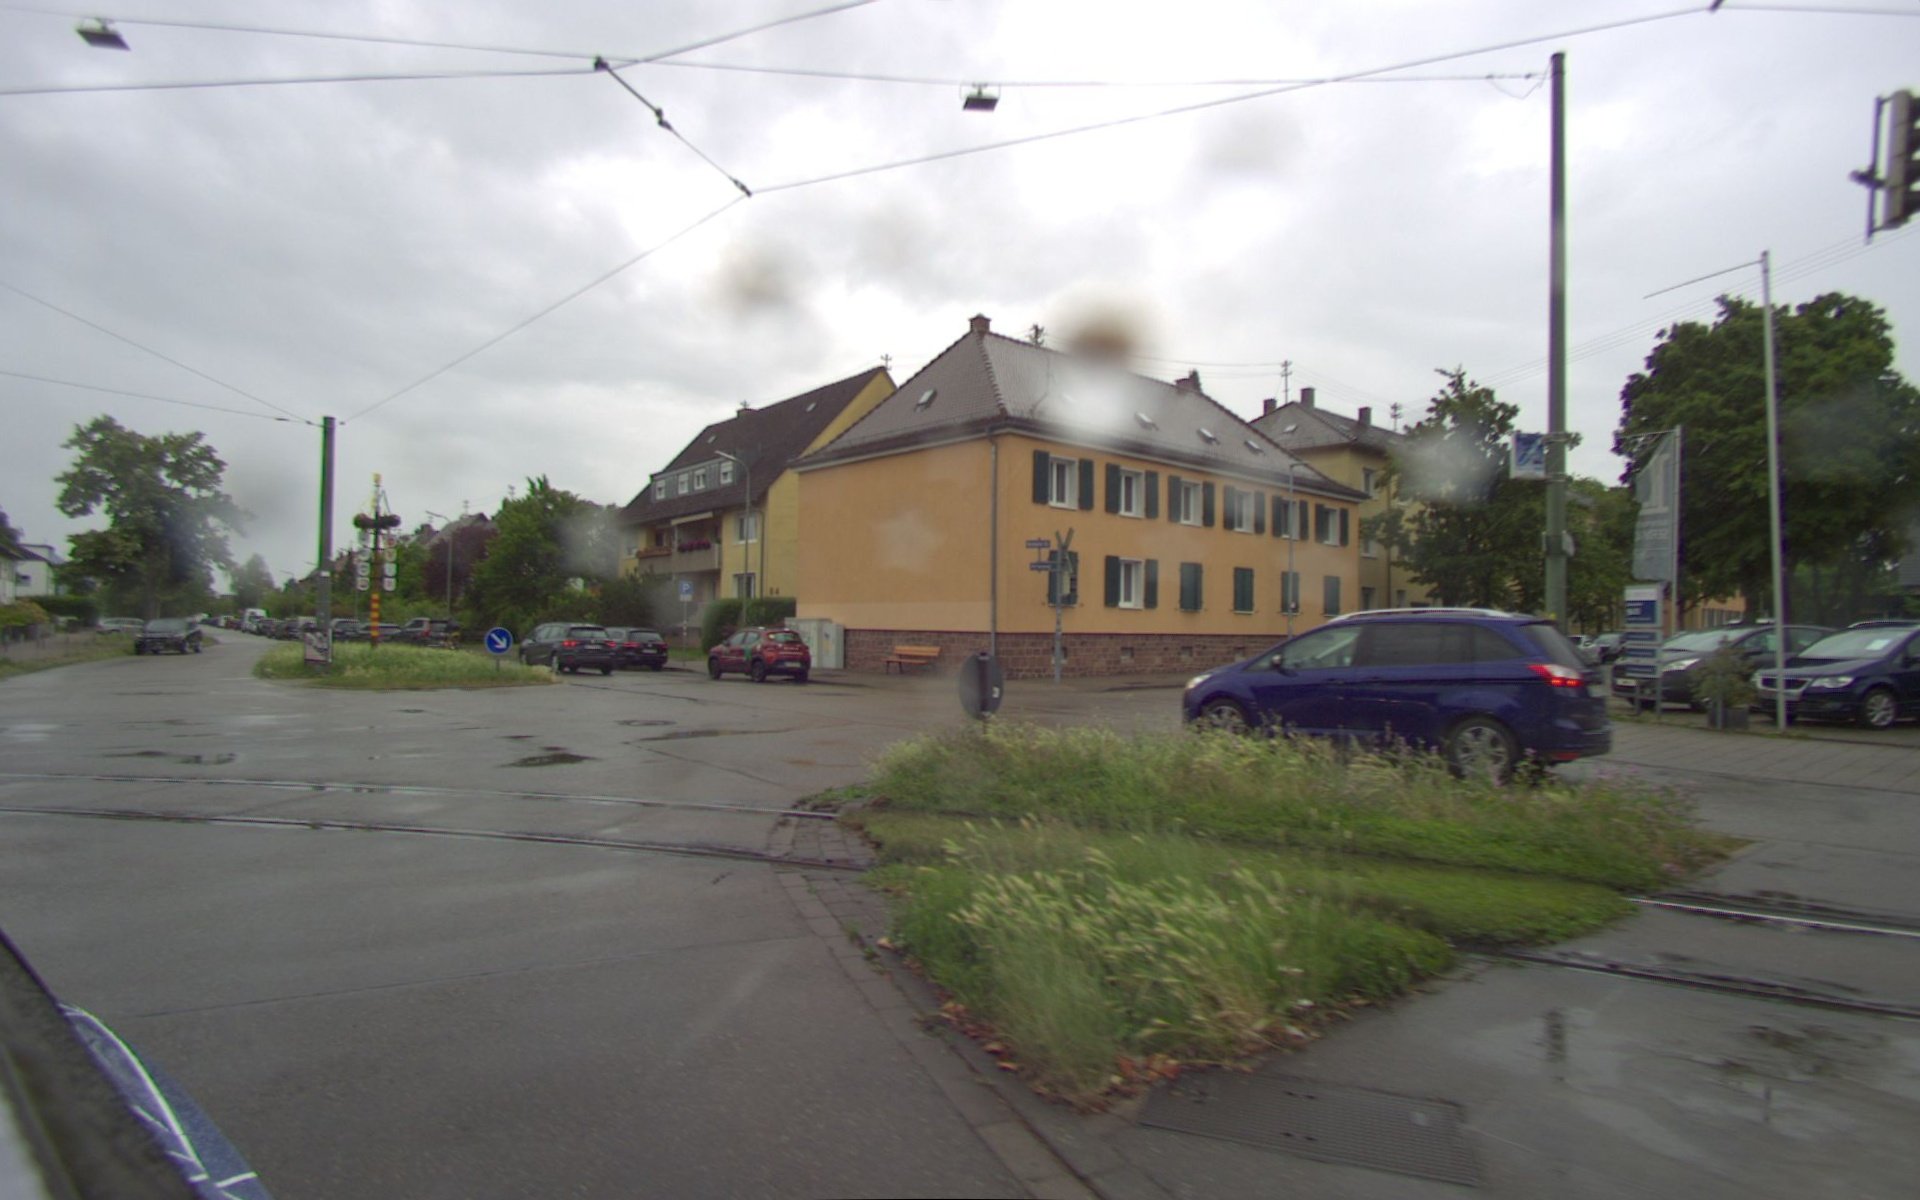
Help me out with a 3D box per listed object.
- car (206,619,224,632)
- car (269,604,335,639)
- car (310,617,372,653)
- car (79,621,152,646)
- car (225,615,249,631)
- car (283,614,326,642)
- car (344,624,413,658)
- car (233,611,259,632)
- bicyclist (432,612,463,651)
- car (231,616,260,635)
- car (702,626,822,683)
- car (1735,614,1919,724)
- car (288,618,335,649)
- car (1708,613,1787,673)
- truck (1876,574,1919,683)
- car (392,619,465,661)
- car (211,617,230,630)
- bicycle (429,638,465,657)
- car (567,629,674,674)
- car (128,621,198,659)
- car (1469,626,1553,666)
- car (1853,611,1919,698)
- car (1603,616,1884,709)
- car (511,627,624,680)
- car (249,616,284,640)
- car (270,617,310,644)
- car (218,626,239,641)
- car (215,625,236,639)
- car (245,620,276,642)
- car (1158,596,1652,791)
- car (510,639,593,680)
[{"bbox_3d":[-117.280,3.966,159.249,1.969,1.807,4.006,2,0,-41],"label":"car"},{"bbox_3d":[-29.770,0.981,45.764,1.969,1.487,4.006,2,-2,-41],"label":"car"},{"bbox_3d":[-35.105,1.976,57.360,4.001,1.807,1.971,2,0,44],"label":"car"},{"bbox_3d":[-60.253,2.400,72.268,3.937,1.695,2.003,2,0,-41],"label":"car"},{"bbox_3d":[-89.985,2.837,125.916,1.969,1.807,4.006,2,0,-41],"label":"car"},{"bbox_3d":[-46.670,2.002,72.015,1.969,1.807,4.006,2,0,-41],"label":"car"},{"bbox_3d":[-30.617,2.127,53.242,4.127,1.586,1.972,2,0,43],"label":"car"},{"bbox_3d":[-76.078,2.313,107.851,1.968,2.049,4.008,2,0,-39],"label":"car"},{"bbox_3d":[-21.969,1.360,43.369,0.935,1.610,1.044,2,-3,-41],"label":"bicyclist"},{"bbox_3d":[-71.958,2.559,101.889,1.969,1.807,4.006,2,0,-41],"label":"car"},{"bbox_3d":[-5.658,1.503,28.658,1.696,1.349,3.622,2,0,-42],"label":"car"},{"bbox_3d":[14.599,1.040,15.728,3.811,1.591,1.810,0,-2,-7],"label":"car"},{"bbox_3d":[-42.162,2.140,65.802,1.969,1.807,4.006,2,0,-41],"label":"car"},{"bbox_3d":[36.269,1.948,46.586,4.070,2.592,2.163,2,0,-42],"label":"car"},{"bbox_3d":[21.868,0.549,19.419,1.965,2.289,6.122,2,-3,-20],"label":"truck"},{"bbox_3d":[-25.954,1.910,49.370,4.001,1.807,1.971,2,0,44],"label":"car"},{"bbox_3d":[-112.935,3.563,154.553,1.969,1.807,4.006,2,0,-41],"label":"car"},{"bbox_3d":[-21.999,2.030,43.383,0.928,0.792,1.822,2,-3,-41],"label":"bicycle"},{"bbox_3d":[-11.899,1.763,35.332,1.936,1.407,4.511,2,-2,-41],"label":"car"},{"bbox_3d":[-34.965,1.741,44.490,1.759,1.473,4.013,2,0,-29],"label":"car"},{"bbox_3d":[23.766,1.982,43.618,3.938,1.630,2.003,3,-3,-42],"label":"car"},{"bbox_3d":[18.907,1.006,18.057,1.965,1.610,3.991,2,-3,-20],"label":"car"},{"bbox_3d":[14.153,1.120,18.400,3.811,1.591,1.810,0,-2,-7],"label":"car"},{"bbox_3d":[-12.067,1.590,30.978,1.969,1.487,4.006,2,-2,-41],"label":"car"},{"bbox_3d":[-57.573,2.305,83.987,1.969,1.807,4.006,2,0,-41],"label":"car"},{"bbox_3d":[-50.305,2.276,75.938,1.969,1.807,4.006,2,0,-41],"label":"car"},{"bbox_3d":[-101.429,4.646,140.374,1.969,1.807,4.006,2,0,-41],"label":"car"},{"bbox_3d":[-104.588,4.548,144.056,1.969,1.807,4.006,2,0,-41],"label":"car"},{"bbox_3d":[-64.873,2.879,93.831,1.969,1.807,4.006,2,0,-41],"label":"car"},{"bbox_3d":[4.696,0.836,11.199,1.970,1.617,4.576,2,0,-44],"label":"car"},{"bbox_3d":[-16.067,2.298,39.692,1.733,1.342,4.005,2,0,-42],"label":"car"}]
